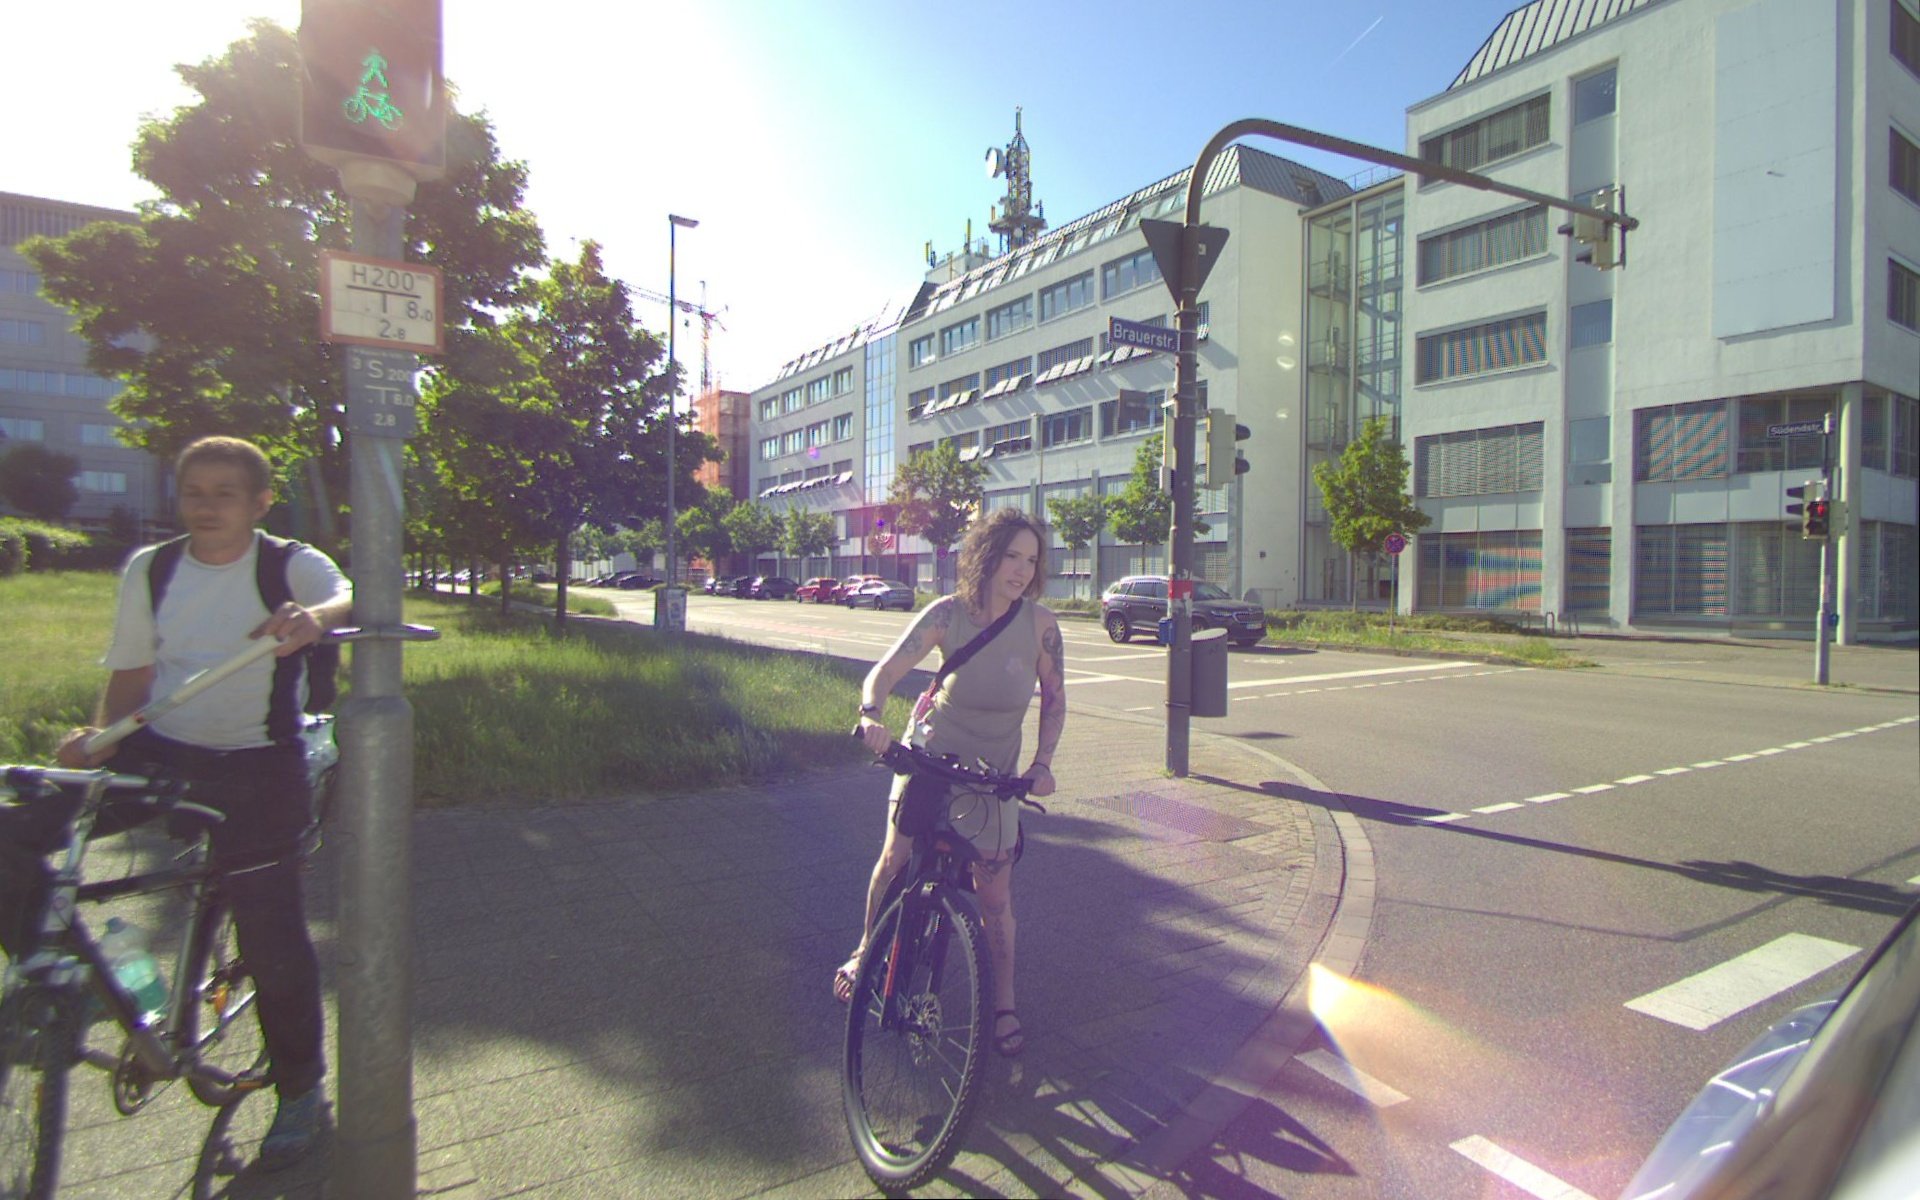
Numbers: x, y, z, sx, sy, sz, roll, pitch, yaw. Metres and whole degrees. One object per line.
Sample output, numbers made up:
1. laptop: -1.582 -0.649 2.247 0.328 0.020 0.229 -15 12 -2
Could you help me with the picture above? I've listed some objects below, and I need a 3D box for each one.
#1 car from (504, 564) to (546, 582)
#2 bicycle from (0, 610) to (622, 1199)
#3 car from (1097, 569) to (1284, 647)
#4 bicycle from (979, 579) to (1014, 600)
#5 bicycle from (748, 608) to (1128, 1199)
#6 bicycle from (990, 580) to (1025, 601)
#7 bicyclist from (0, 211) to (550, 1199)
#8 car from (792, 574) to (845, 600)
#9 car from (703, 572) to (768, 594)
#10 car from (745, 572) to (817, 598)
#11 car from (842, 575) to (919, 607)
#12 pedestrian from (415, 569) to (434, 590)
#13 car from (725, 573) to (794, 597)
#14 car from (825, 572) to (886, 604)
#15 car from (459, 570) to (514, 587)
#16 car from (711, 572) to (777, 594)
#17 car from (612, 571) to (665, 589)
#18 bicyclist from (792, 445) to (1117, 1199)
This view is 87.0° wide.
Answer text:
1. car: -64.546 -4.011 150.345 5.478 2.512 2.013 -3 3 -30
2. bicycle: -1.618 0.740 2.277 0.779 1.364 2.260 1 1 5
3. car: 5.465 0.113 24.510 1.726 1.648 4.481 -3 3 -33
4. bicycle: 1.954 -0.552 53.999 1.736 1.082 0.557 1 1 -25
5. bicycle: 0.037 0.739 3.141 0.779 1.364 2.076 1 1 5
6. bicycle: 2.513 -0.490 53.438 1.757 1.082 0.622 1 1 -25
7. bicyclist: -1.597 0.270 2.384 0.779 1.983 1.010 1 0 5
8. car: -8.414 -0.796 59.891 1.661 1.449 3.875 -3 3 -32
9. car: -16.639 -1.293 75.100 4.315 1.449 1.695 -3 3 -33
10. car: -11.785 -1.028 66.791 4.319 1.556 1.693 -3 3 -37
11. car: -3.968 -0.473 49.723 1.661 1.487 4.548 1 1 -35
12. pedestrian: -33.433 -1.277 63.203 0.833 1.232 0.727 2 0 -45
13. car: -13.695 -1.054 69.194 4.318 1.449 1.694 -3 3 -35
14. car: -5.825 -0.698 55.945 1.660 1.626 4.315 -3 3 -31
15. car: -43.146 -1.942 92.323 4.329 1.481 1.897 1 1 -32
16. car: -15.578 -1.236 73.158 4.315 1.449 1.695 -3 3 -32
17. car: -30.116 -1.882 94.920 4.318 1.449 1.977 -3 3 -36
18. bicyclist: 0.028 0.533 3.065 0.779 1.847 1.134 1 1 5
